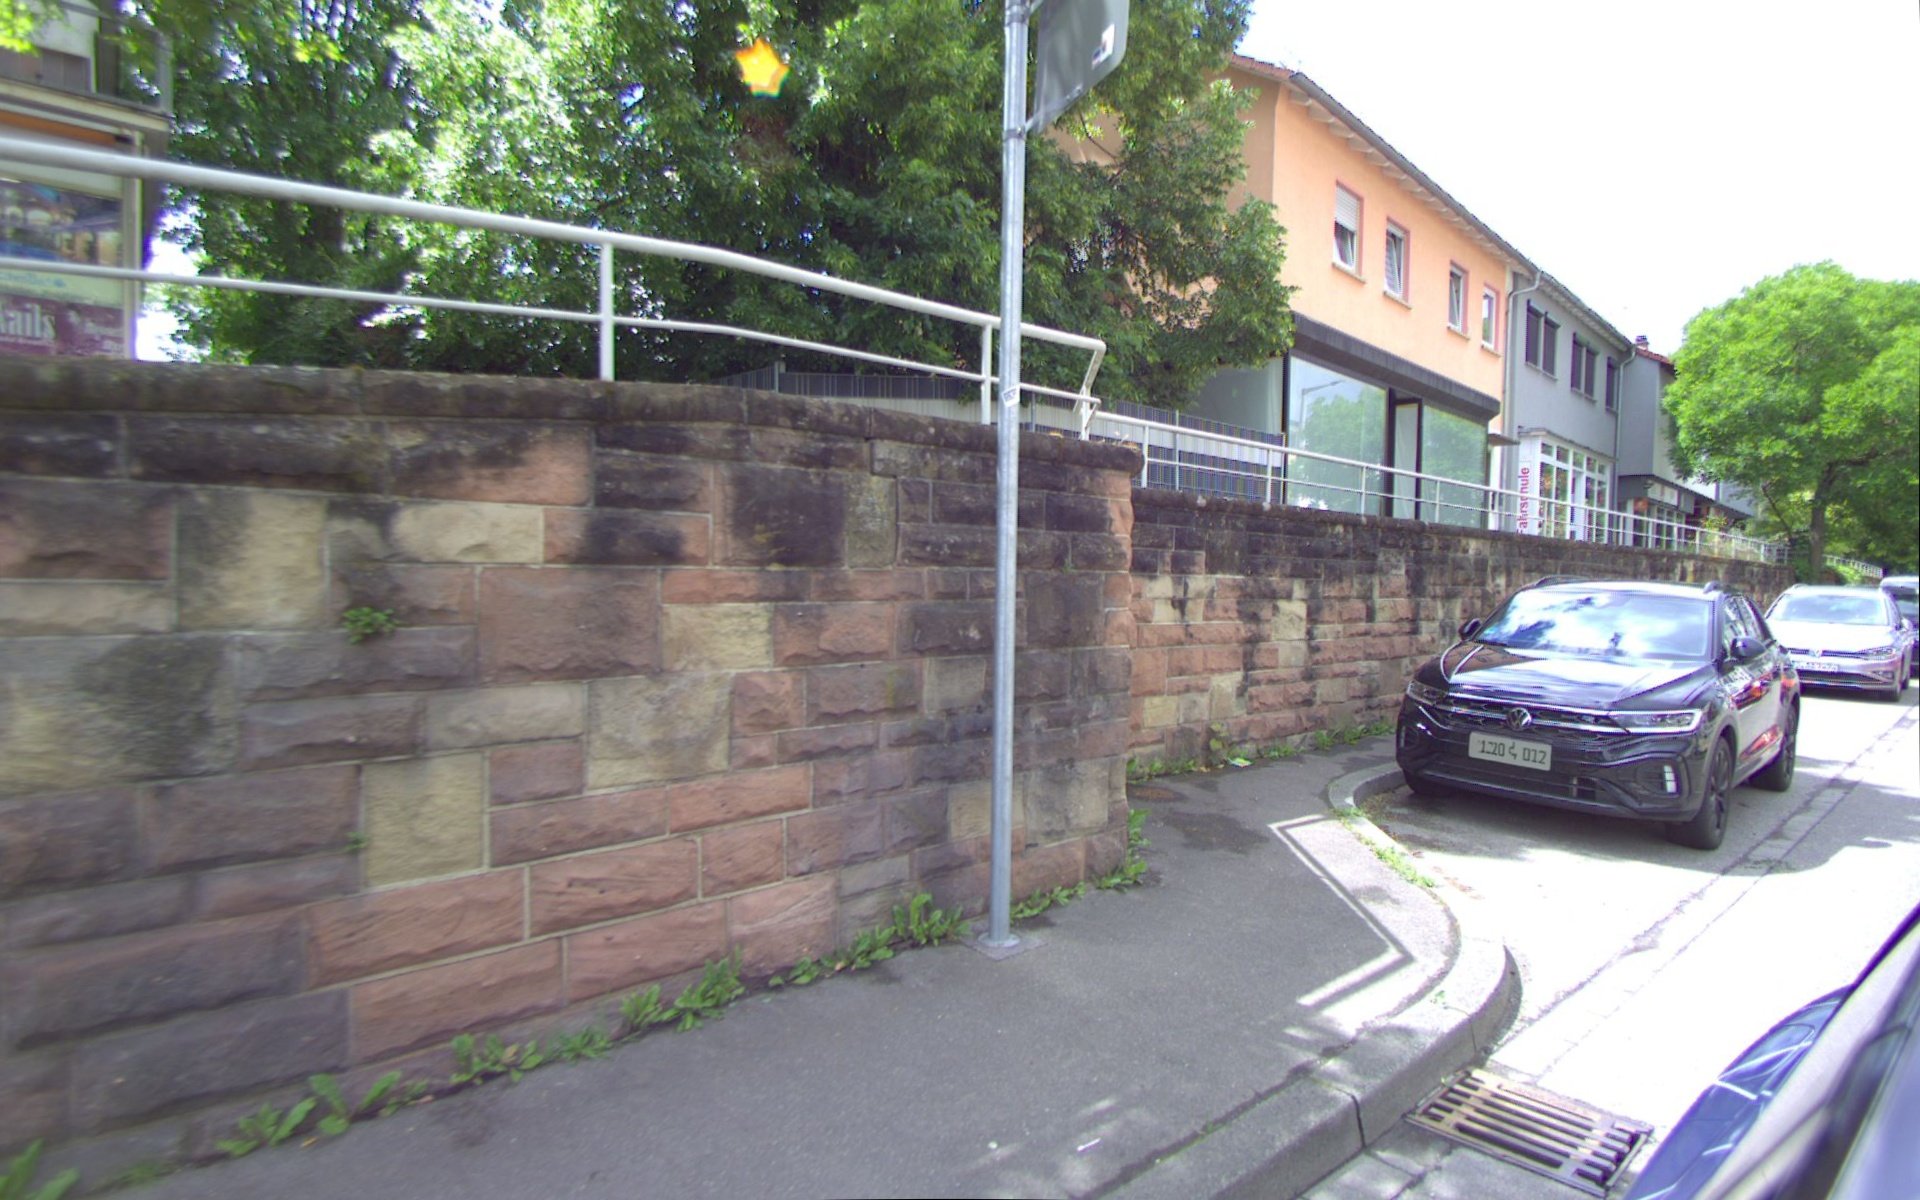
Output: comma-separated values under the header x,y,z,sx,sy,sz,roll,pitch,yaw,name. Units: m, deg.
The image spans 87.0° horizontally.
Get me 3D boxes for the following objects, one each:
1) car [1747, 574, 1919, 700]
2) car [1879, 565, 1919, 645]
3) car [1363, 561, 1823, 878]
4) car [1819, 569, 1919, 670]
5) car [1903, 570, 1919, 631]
x,y,z,sx,sy,sz,roll,pitch,yaw,name
13.444,0.456,15.289,4.104,1.587,1.758,0,3,-43,car
26.529,0.104,27.498,4.886,2.033,1.852,-1,3,-43,car
4.628,0.561,7.151,3.954,1.599,1.758,-1,3,-43,car
17.913,0.310,19.374,3.933,1.737,1.758,-1,3,-43,car
32.963,0.020,33.733,4.886,1.961,1.852,-1,3,-43,car
